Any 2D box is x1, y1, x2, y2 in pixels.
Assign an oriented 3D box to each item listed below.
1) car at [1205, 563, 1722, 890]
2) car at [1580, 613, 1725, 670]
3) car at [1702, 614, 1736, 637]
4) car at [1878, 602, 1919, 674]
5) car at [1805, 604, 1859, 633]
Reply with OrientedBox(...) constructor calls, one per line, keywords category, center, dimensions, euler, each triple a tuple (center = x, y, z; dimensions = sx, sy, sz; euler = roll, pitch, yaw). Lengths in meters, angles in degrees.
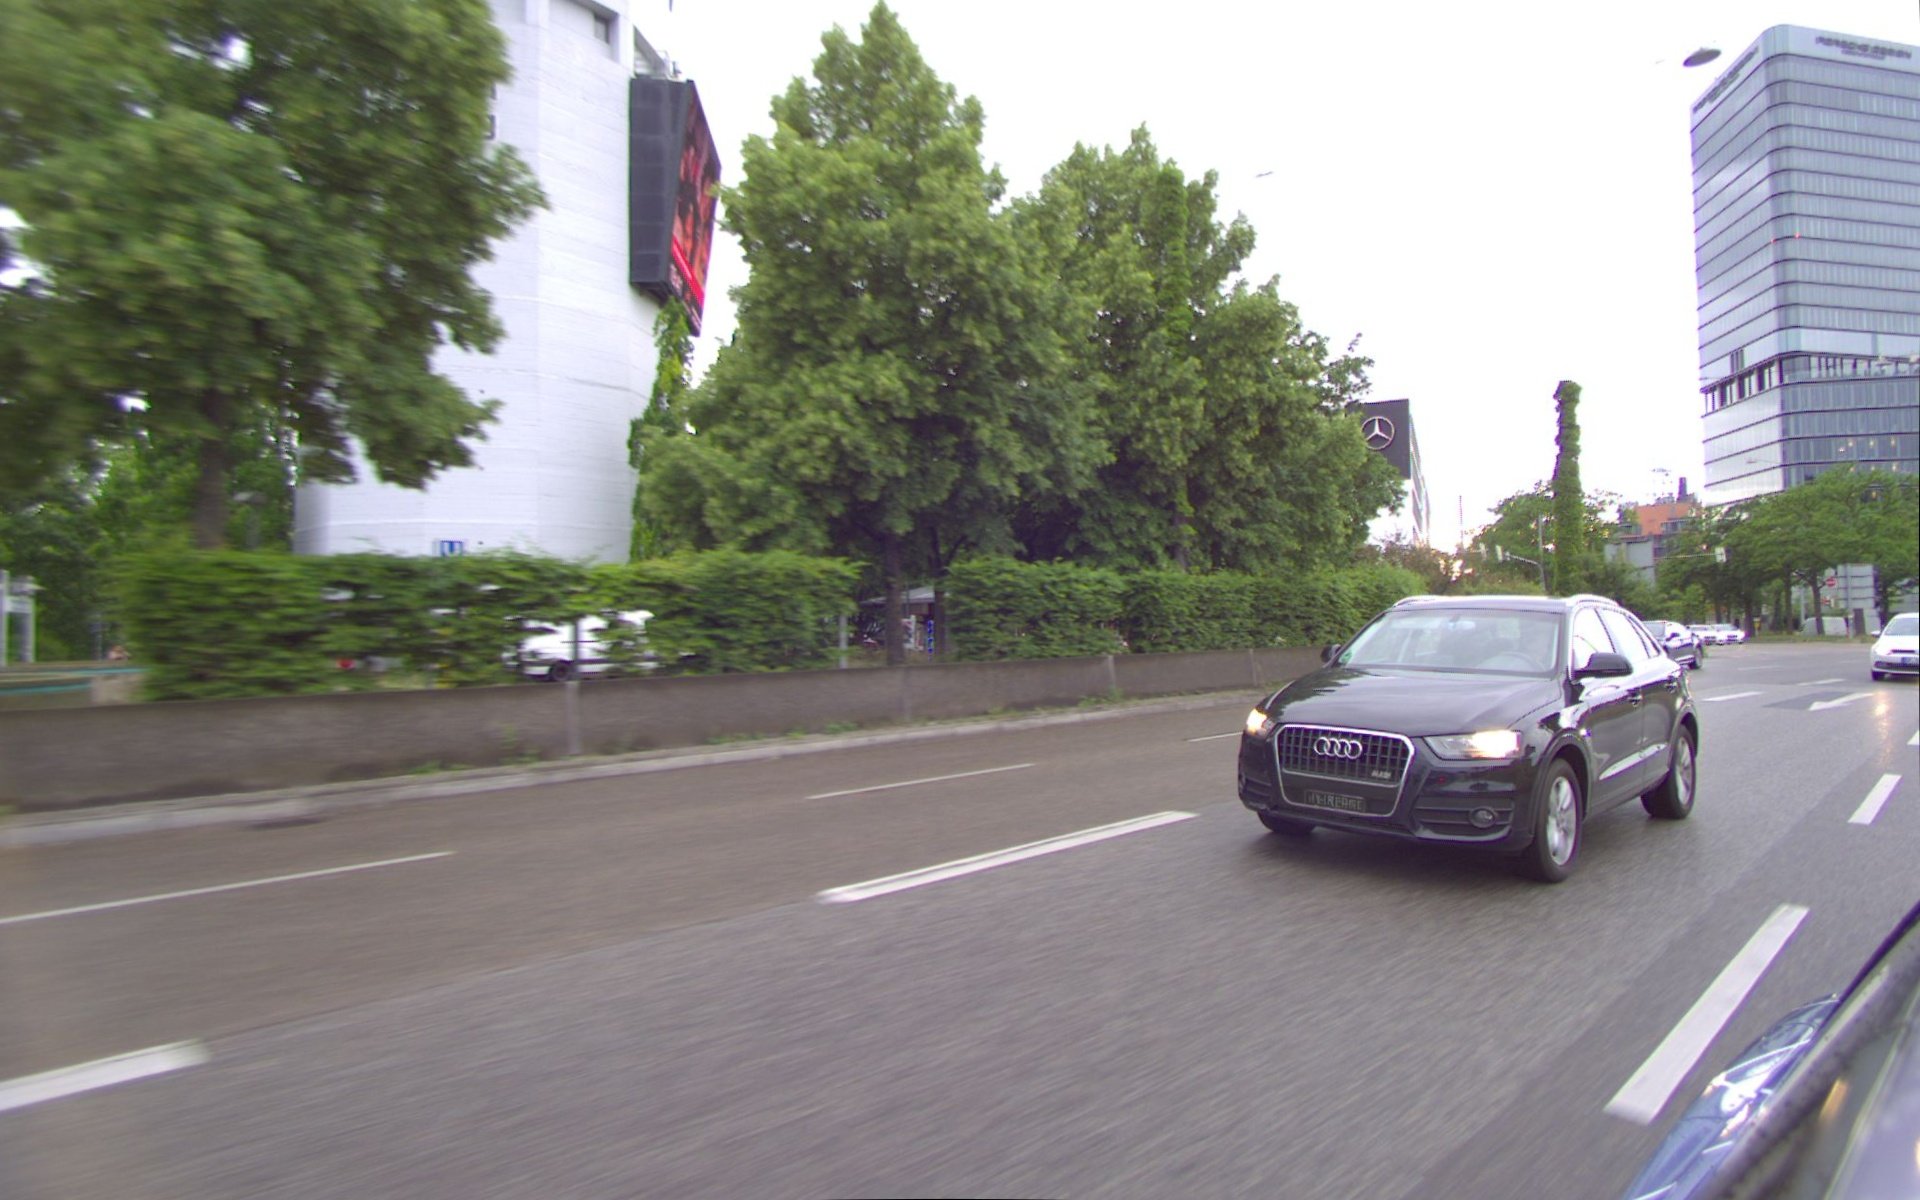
OrientedBox(category="car", center=(3.579, 0.645, 6.844), dimensions=(4.055, 1.554, 1.727), euler=(0, -3, -42))
OrientedBox(category="car", center=(18.859, 1.091, 27.532), dimensions=(3.921, 1.416, 1.761), euler=(0, -2, -31))
OrientedBox(category="car", center=(52.030, 1.725, 69.416), dimensions=(1.625, 1.495, 3.631), euler=(-2, -2, 34))
OrientedBox(category="car", center=(21.572, 0.775, 22.161), dimensions=(4.191, 1.491, 1.727), euler=(0, -3, -43))
OrientedBox(category="car", center=(83.436, 1.798, 96.900), dimensions=(1.907, 2.618, 5.423), euler=(-2, -2, 19))
